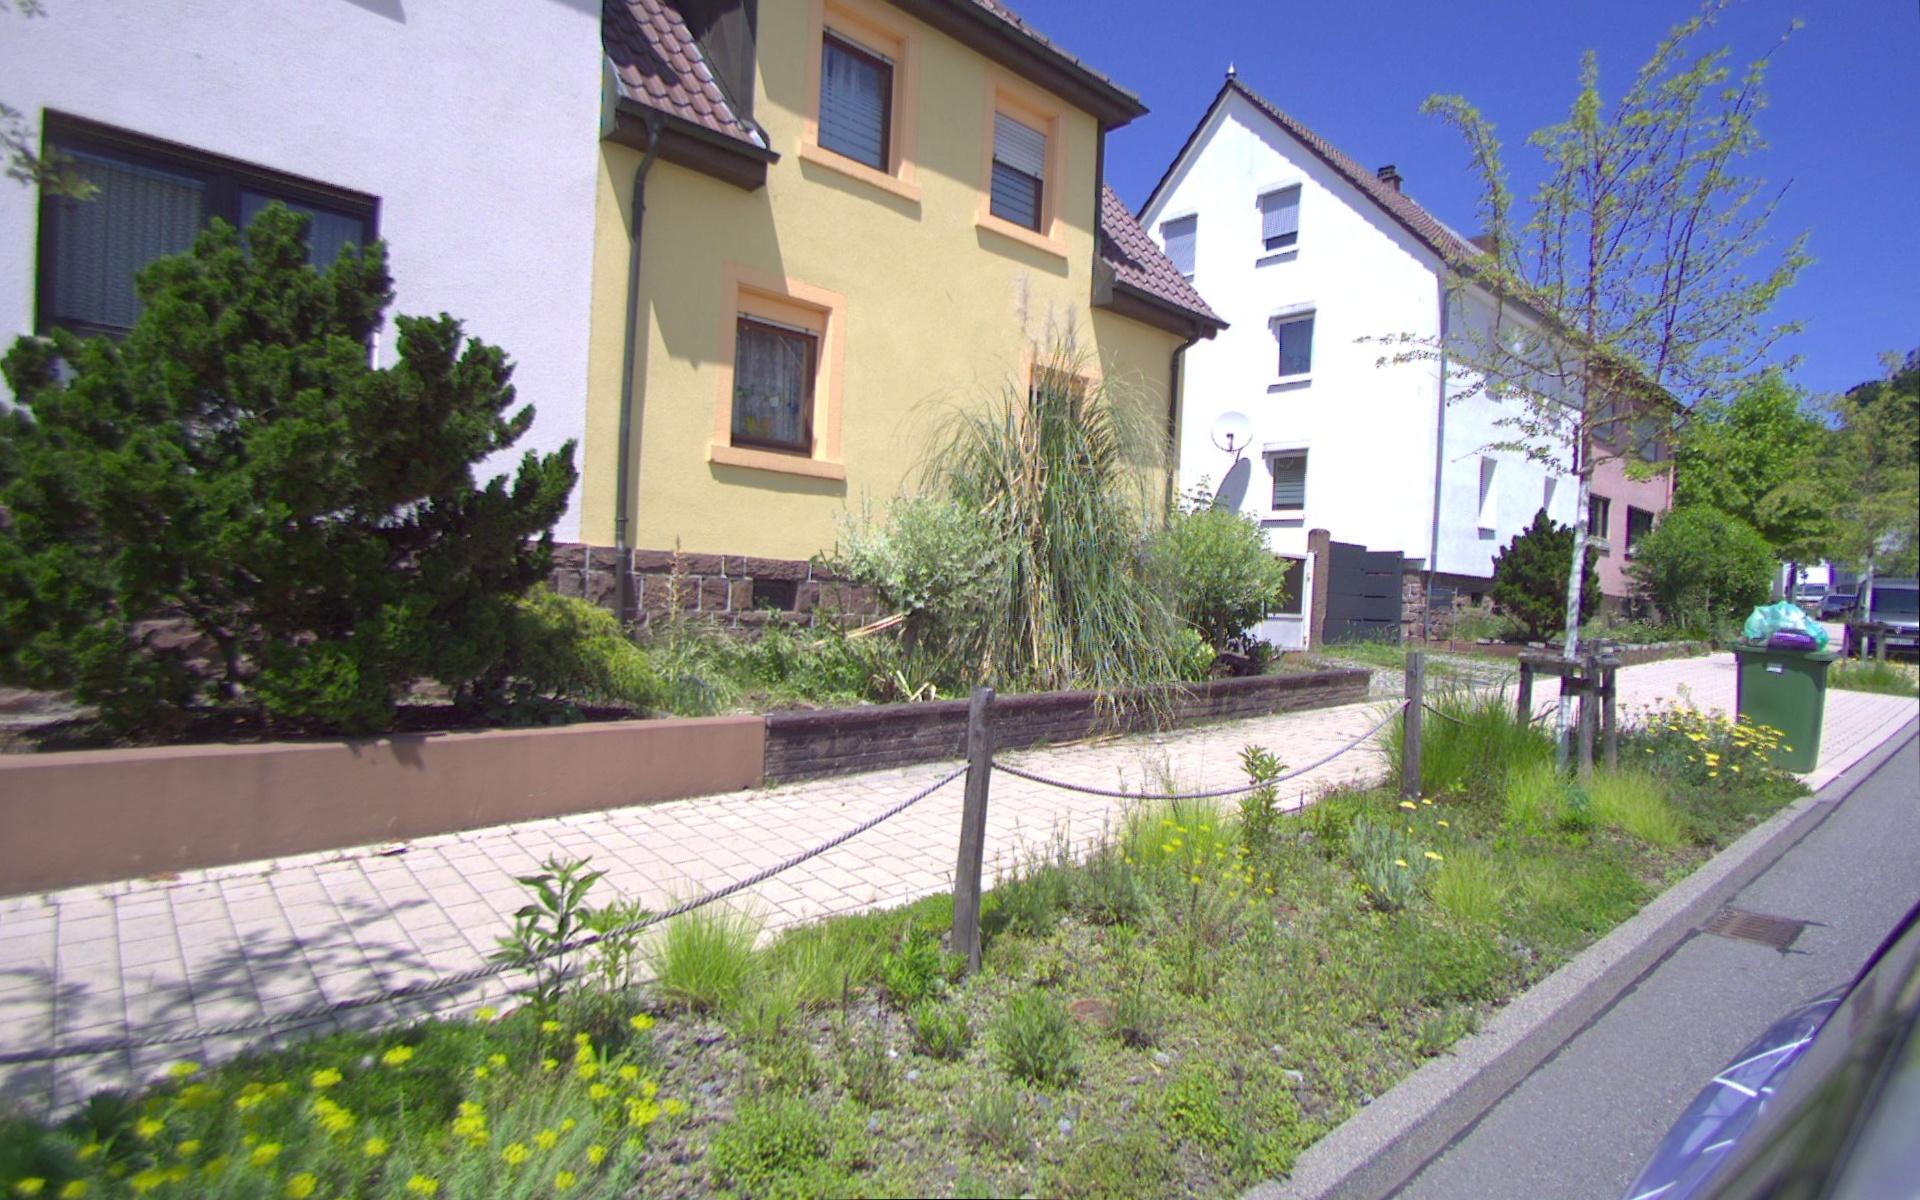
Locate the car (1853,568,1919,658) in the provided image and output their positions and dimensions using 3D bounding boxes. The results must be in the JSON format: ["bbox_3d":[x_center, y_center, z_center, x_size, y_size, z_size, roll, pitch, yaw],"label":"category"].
[{"bbox_3d":[21.873,0.271,23.121,4.595,1.865,1.857,0,4,-45],"label":"car"}]

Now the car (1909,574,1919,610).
[{"bbox_3d":[49.814,-0.366,51.168,1.958,1.856,4.408,3,2,35],"label":"car"}]

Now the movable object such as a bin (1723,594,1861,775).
[{"bbox_3d":[7.062,0.664,8.589,0.910,1.413,0.792,0,1,-44],"label":"movable object such as a bin"}]

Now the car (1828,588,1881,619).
[{"bbox_3d":[44.121,0.163,49.995,1.668,1.393,3.945,3,3,38],"label":"car"}]

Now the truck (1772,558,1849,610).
[{"bbox_3d":[59.842,-1.131,71.386,2.785,3.456,8.033,1,1,30],"label":"truck"}]
